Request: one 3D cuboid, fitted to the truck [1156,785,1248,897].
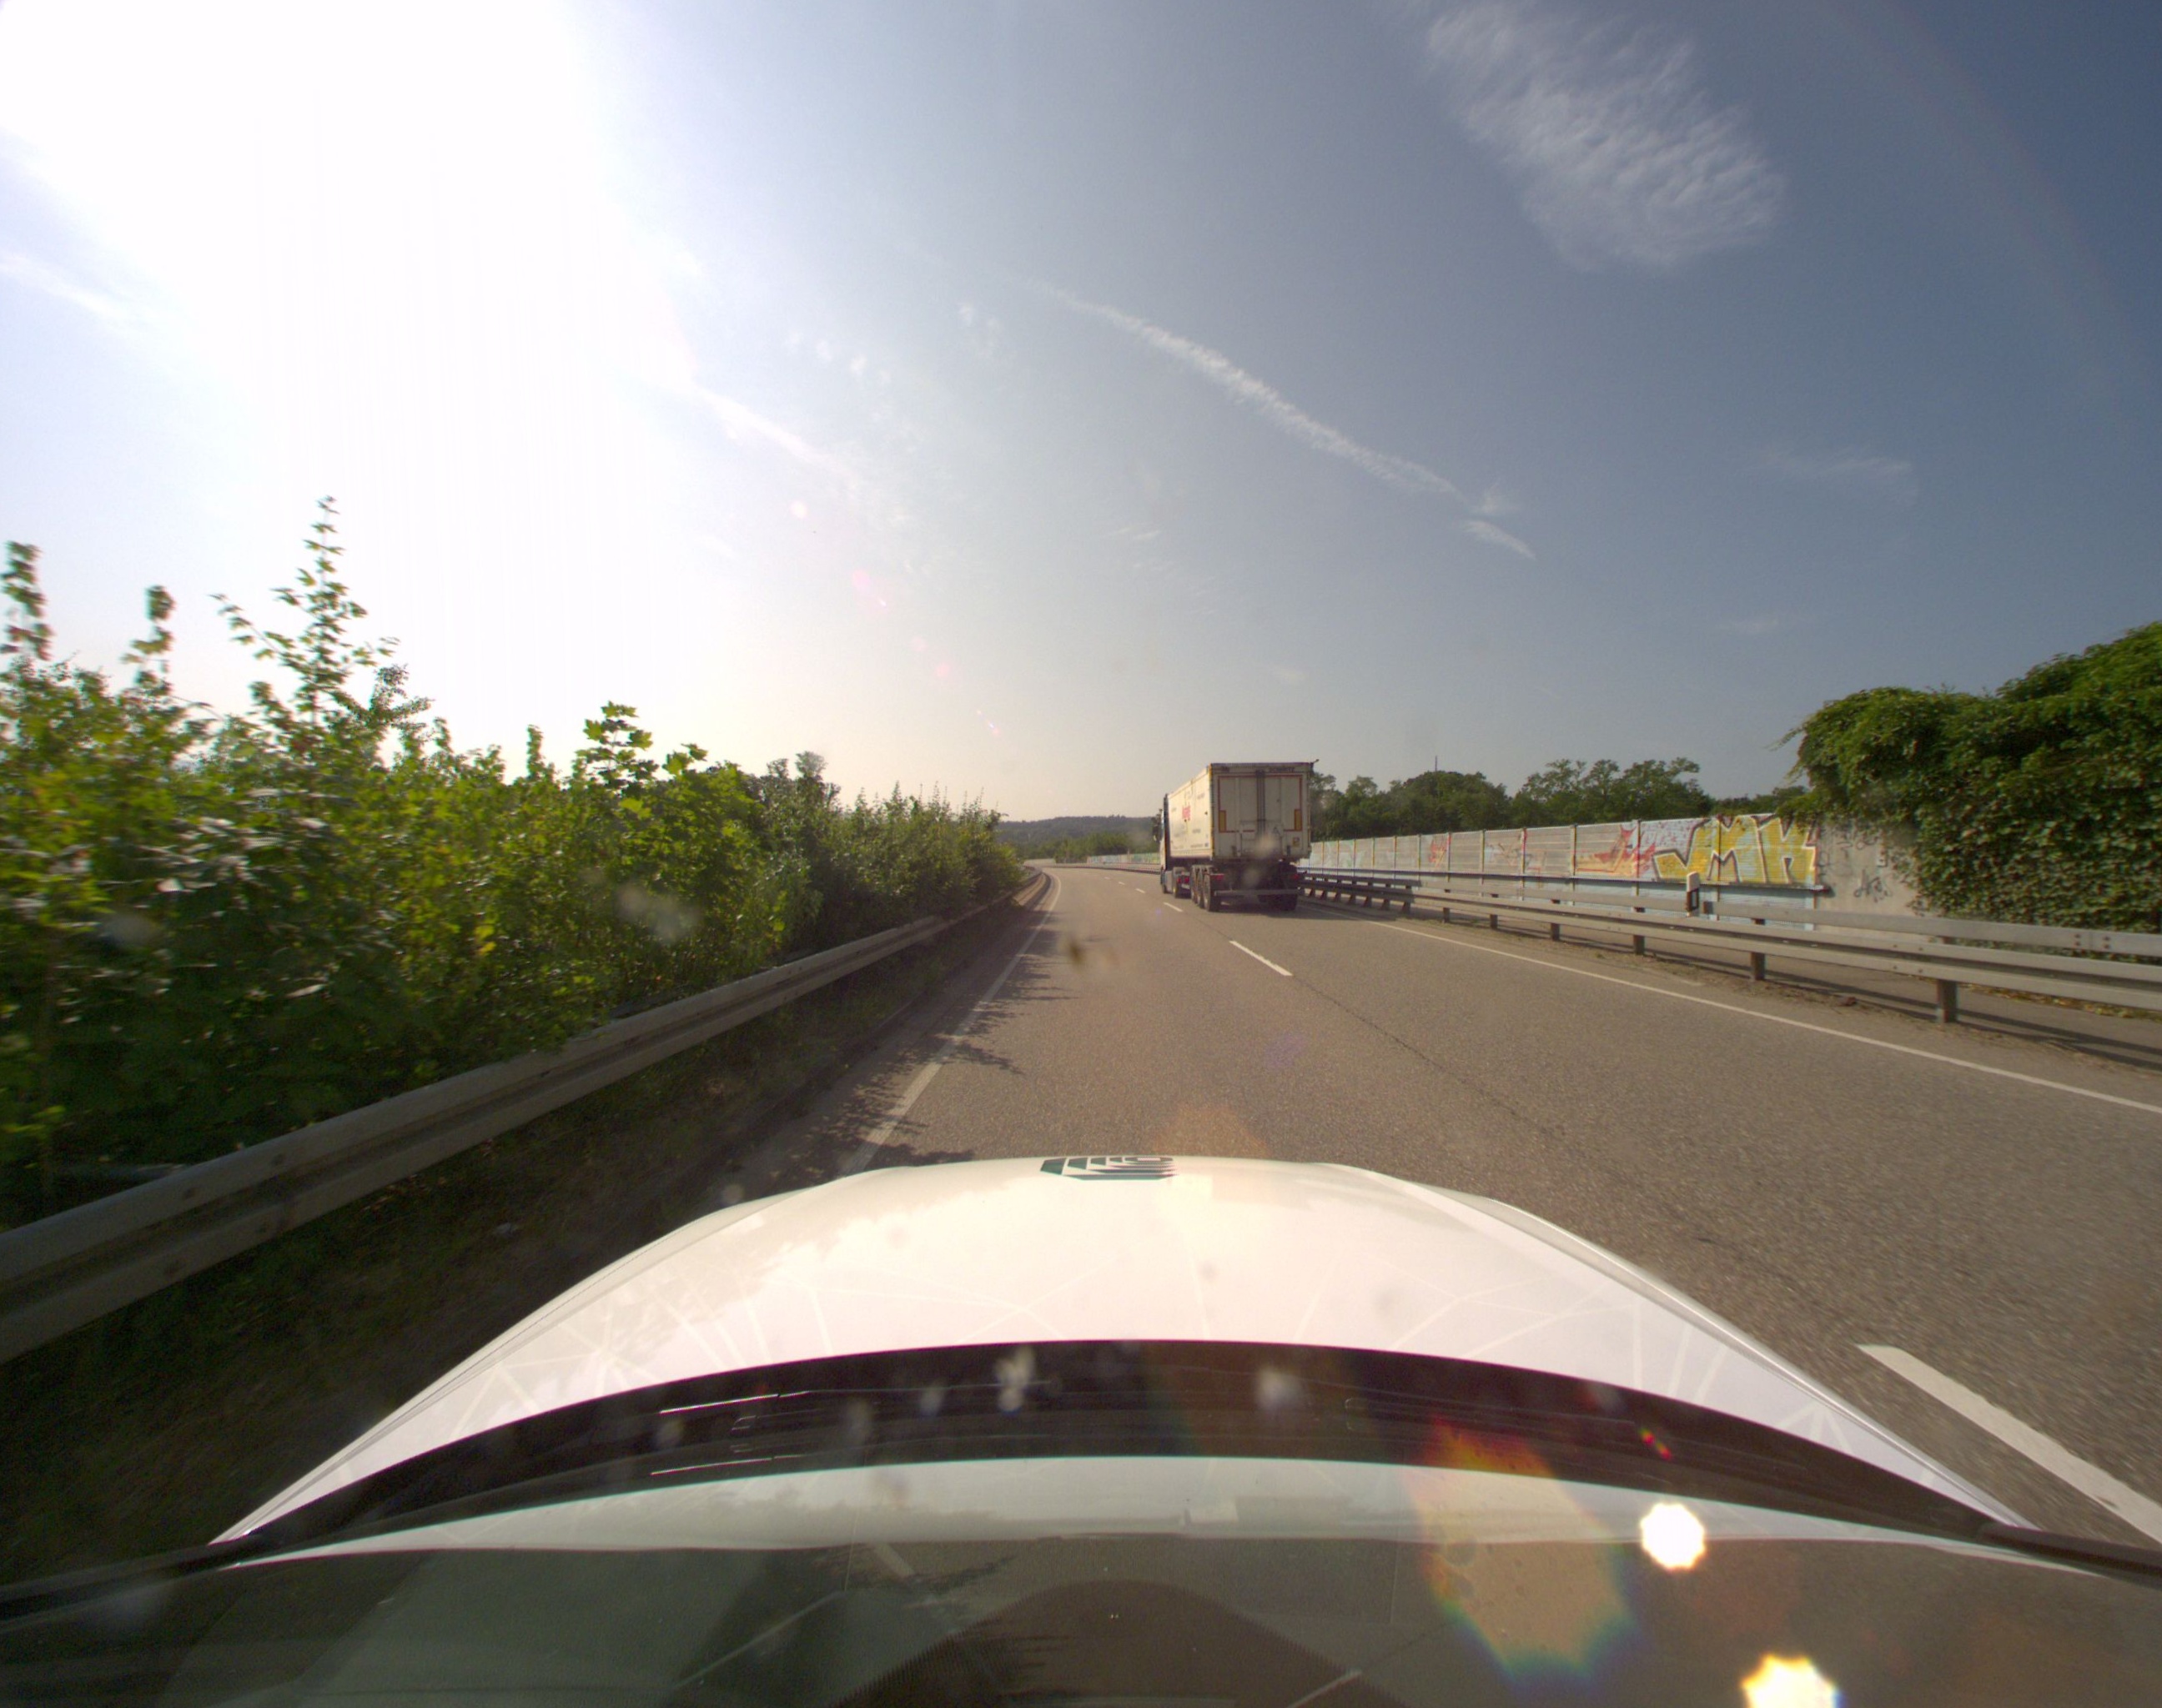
[{"bbox_3d":[4.530,-0.467,31.516,2.650,3.896,5.647,-1,0,0],"label":"truck"}]

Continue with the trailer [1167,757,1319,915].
[{"bbox_3d":[4.552,-0.446,25.200,2.671,3.907,9.669,-1,0,0],"label":"trailer"}]
